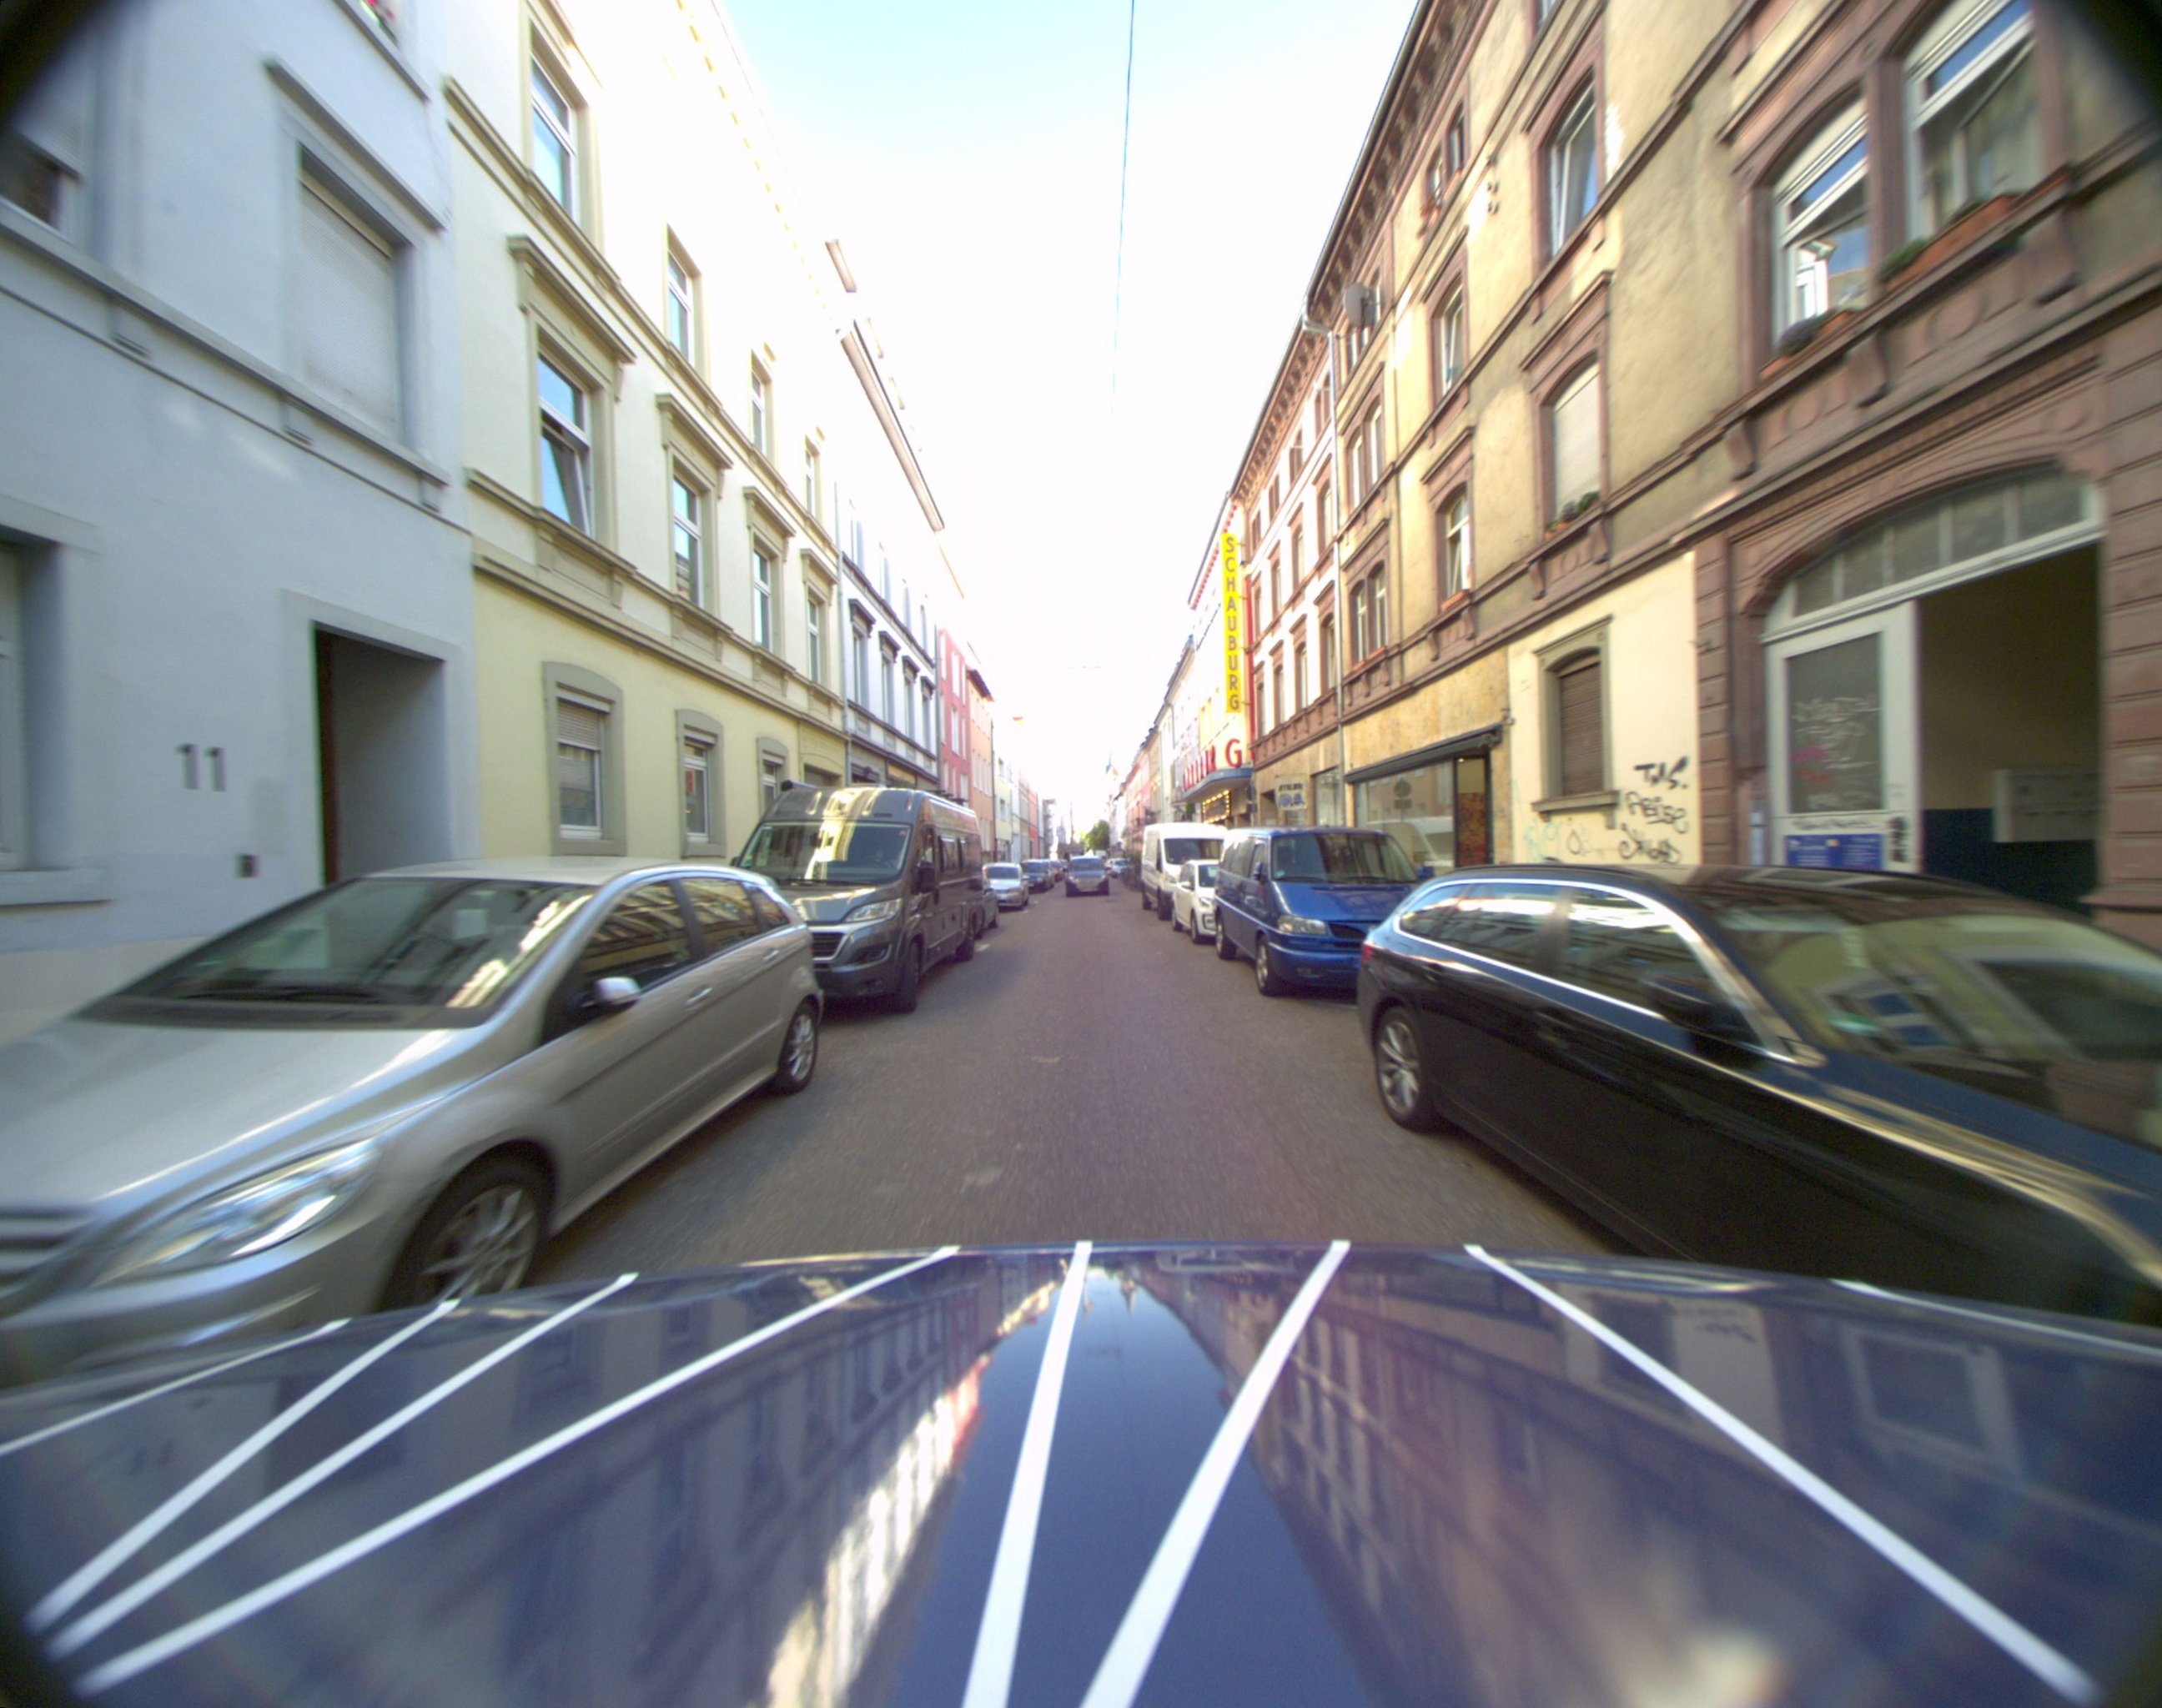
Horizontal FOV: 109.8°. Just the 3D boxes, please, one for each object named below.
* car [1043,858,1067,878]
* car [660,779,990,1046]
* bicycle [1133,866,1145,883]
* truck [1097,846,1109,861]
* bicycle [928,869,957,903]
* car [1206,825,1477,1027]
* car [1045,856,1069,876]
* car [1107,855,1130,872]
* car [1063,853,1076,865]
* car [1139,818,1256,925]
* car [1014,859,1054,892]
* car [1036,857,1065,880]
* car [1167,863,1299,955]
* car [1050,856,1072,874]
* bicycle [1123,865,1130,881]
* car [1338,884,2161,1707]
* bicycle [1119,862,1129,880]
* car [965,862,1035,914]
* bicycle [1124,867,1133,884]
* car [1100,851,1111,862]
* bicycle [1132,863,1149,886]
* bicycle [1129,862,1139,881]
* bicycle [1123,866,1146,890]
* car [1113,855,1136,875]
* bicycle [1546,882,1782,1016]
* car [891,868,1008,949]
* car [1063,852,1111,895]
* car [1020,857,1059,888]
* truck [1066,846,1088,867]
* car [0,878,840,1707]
[{"bbox_3d":[-1.925,1.017,57.054,1.692,1.444,4.193,0,0,-1],"label":"car"},{"bbox_3d":[-2.689,0.532,10.027,2.180,2.411,6.309,0,0,0],"label":"car"},{"bbox_3d":[3.247,1.134,42.380,0.555,0.938,1.572,-1,0,1],"label":"bicycle"},{"bbox_3d":[4.938,-0.102,169.410,2.524,3.271,6.643,-2,0,2],"label":"truck"},{"bbox_3d":[-4.931,1.127,27.200,0.712,1.091,1.900,1,1,-2],"label":"bicycle"},{"bbox_3d":[2.844,0.682,9.511,1.832,1.881,4.613,1,0,1],"label":"car"},{"bbox_3d":[-1.961,0.946,62.573,1.794,1.542,4.000,-1,0,1],"label":"car"},{"bbox_3d":[3.344,0.842,68.392,1.792,1.454,4.200,-1,0,0],"label":"car"},{"bbox_3d":[-1.477,0.618,98.510,1.644,1.528,3.842,-2,0,0],"label":"car"},{"bbox_3d":[2.882,0.395,20.286,2.173,2.437,5.921,0,0,-1],"label":"car"},{"bbox_3d":[-2.269,1.016,37.249,1.606,1.530,3.450,1,0,2],"label":"car"},{"bbox_3d":[-2.067,0.953,52.477,1.701,1.514,3.980,0,0,2],"label":"car"},{"bbox_3d":[2.714,0.923,14.387,1.649,1.438,3.839,-1,0,-1],"label":"car"},{"bbox_3d":[-1.756,0.978,68.096,1.766,1.513,4.380,-2,0,0],"label":"car"},{"bbox_3d":[2.716,1.145,45.283,0.322,0.911,1.290,-1,0,1],"label":"bicycle"},{"bbox_3d":[2.658,0.905,2.622,1.867,1.431,4.644,-1,0,-1],"label":"car"},{"bbox_3d":[2.656,1.042,46.881,0.500,1.099,1.830,-2,0,0],"label":"bicycle"},{"bbox_3d":[-2.572,1.043,25.043,1.791,1.446,4.547,1,0,0],"label":"car"},{"bbox_3d":[2.634,1.173,42.038,0.391,0.911,1.393,-1,0,1],"label":"bicycle"},{"bbox_3d":[4.569,0.519,140.768,1.998,2.002,4.258,-1,0,1],"label":"car"},{"bbox_3d":[2.997,1.036,38.402,0.547,1.087,1.881,-3,0,-3],"label":"bicycle"},{"bbox_3d":[3.247,1.062,46.938,0.444,1.099,1.932,-2,0,0],"label":"bicycle"},{"bbox_3d":[2.431,1.082,34.878,0.462,1.041,1.748,-3,0,-15],"label":"bicycle"},{"bbox_3d":[3.372,0.836,57.883,1.684,1.446,4.035,0,0,4],"label":"car"},{"bbox_3d":[5.624,0.852,7.536,0.757,1.015,2.029,-5,0,2],"label":"bicycle"},{"bbox_3d":[-2.743,1.100,16.776,1.752,1.436,4.172,-2,0,1],"label":"car"},{"bbox_3d":[0.250,0.749,31.416,1.832,1.650,4.213,-1,0,1],"label":"car"},{"bbox_3d":[-2.241,0.975,42.021,1.750,1.547,4.172,-2,0,2],"label":"car"},{"bbox_3d":[-0.482,0.335,107.265,2.819,2.735,7.678,-3,0,0],"label":"truck"},{"bbox_3d":[-2.715,0.987,3.631,1.698,1.598,4.374,0,0,0],"label":"car"}]
